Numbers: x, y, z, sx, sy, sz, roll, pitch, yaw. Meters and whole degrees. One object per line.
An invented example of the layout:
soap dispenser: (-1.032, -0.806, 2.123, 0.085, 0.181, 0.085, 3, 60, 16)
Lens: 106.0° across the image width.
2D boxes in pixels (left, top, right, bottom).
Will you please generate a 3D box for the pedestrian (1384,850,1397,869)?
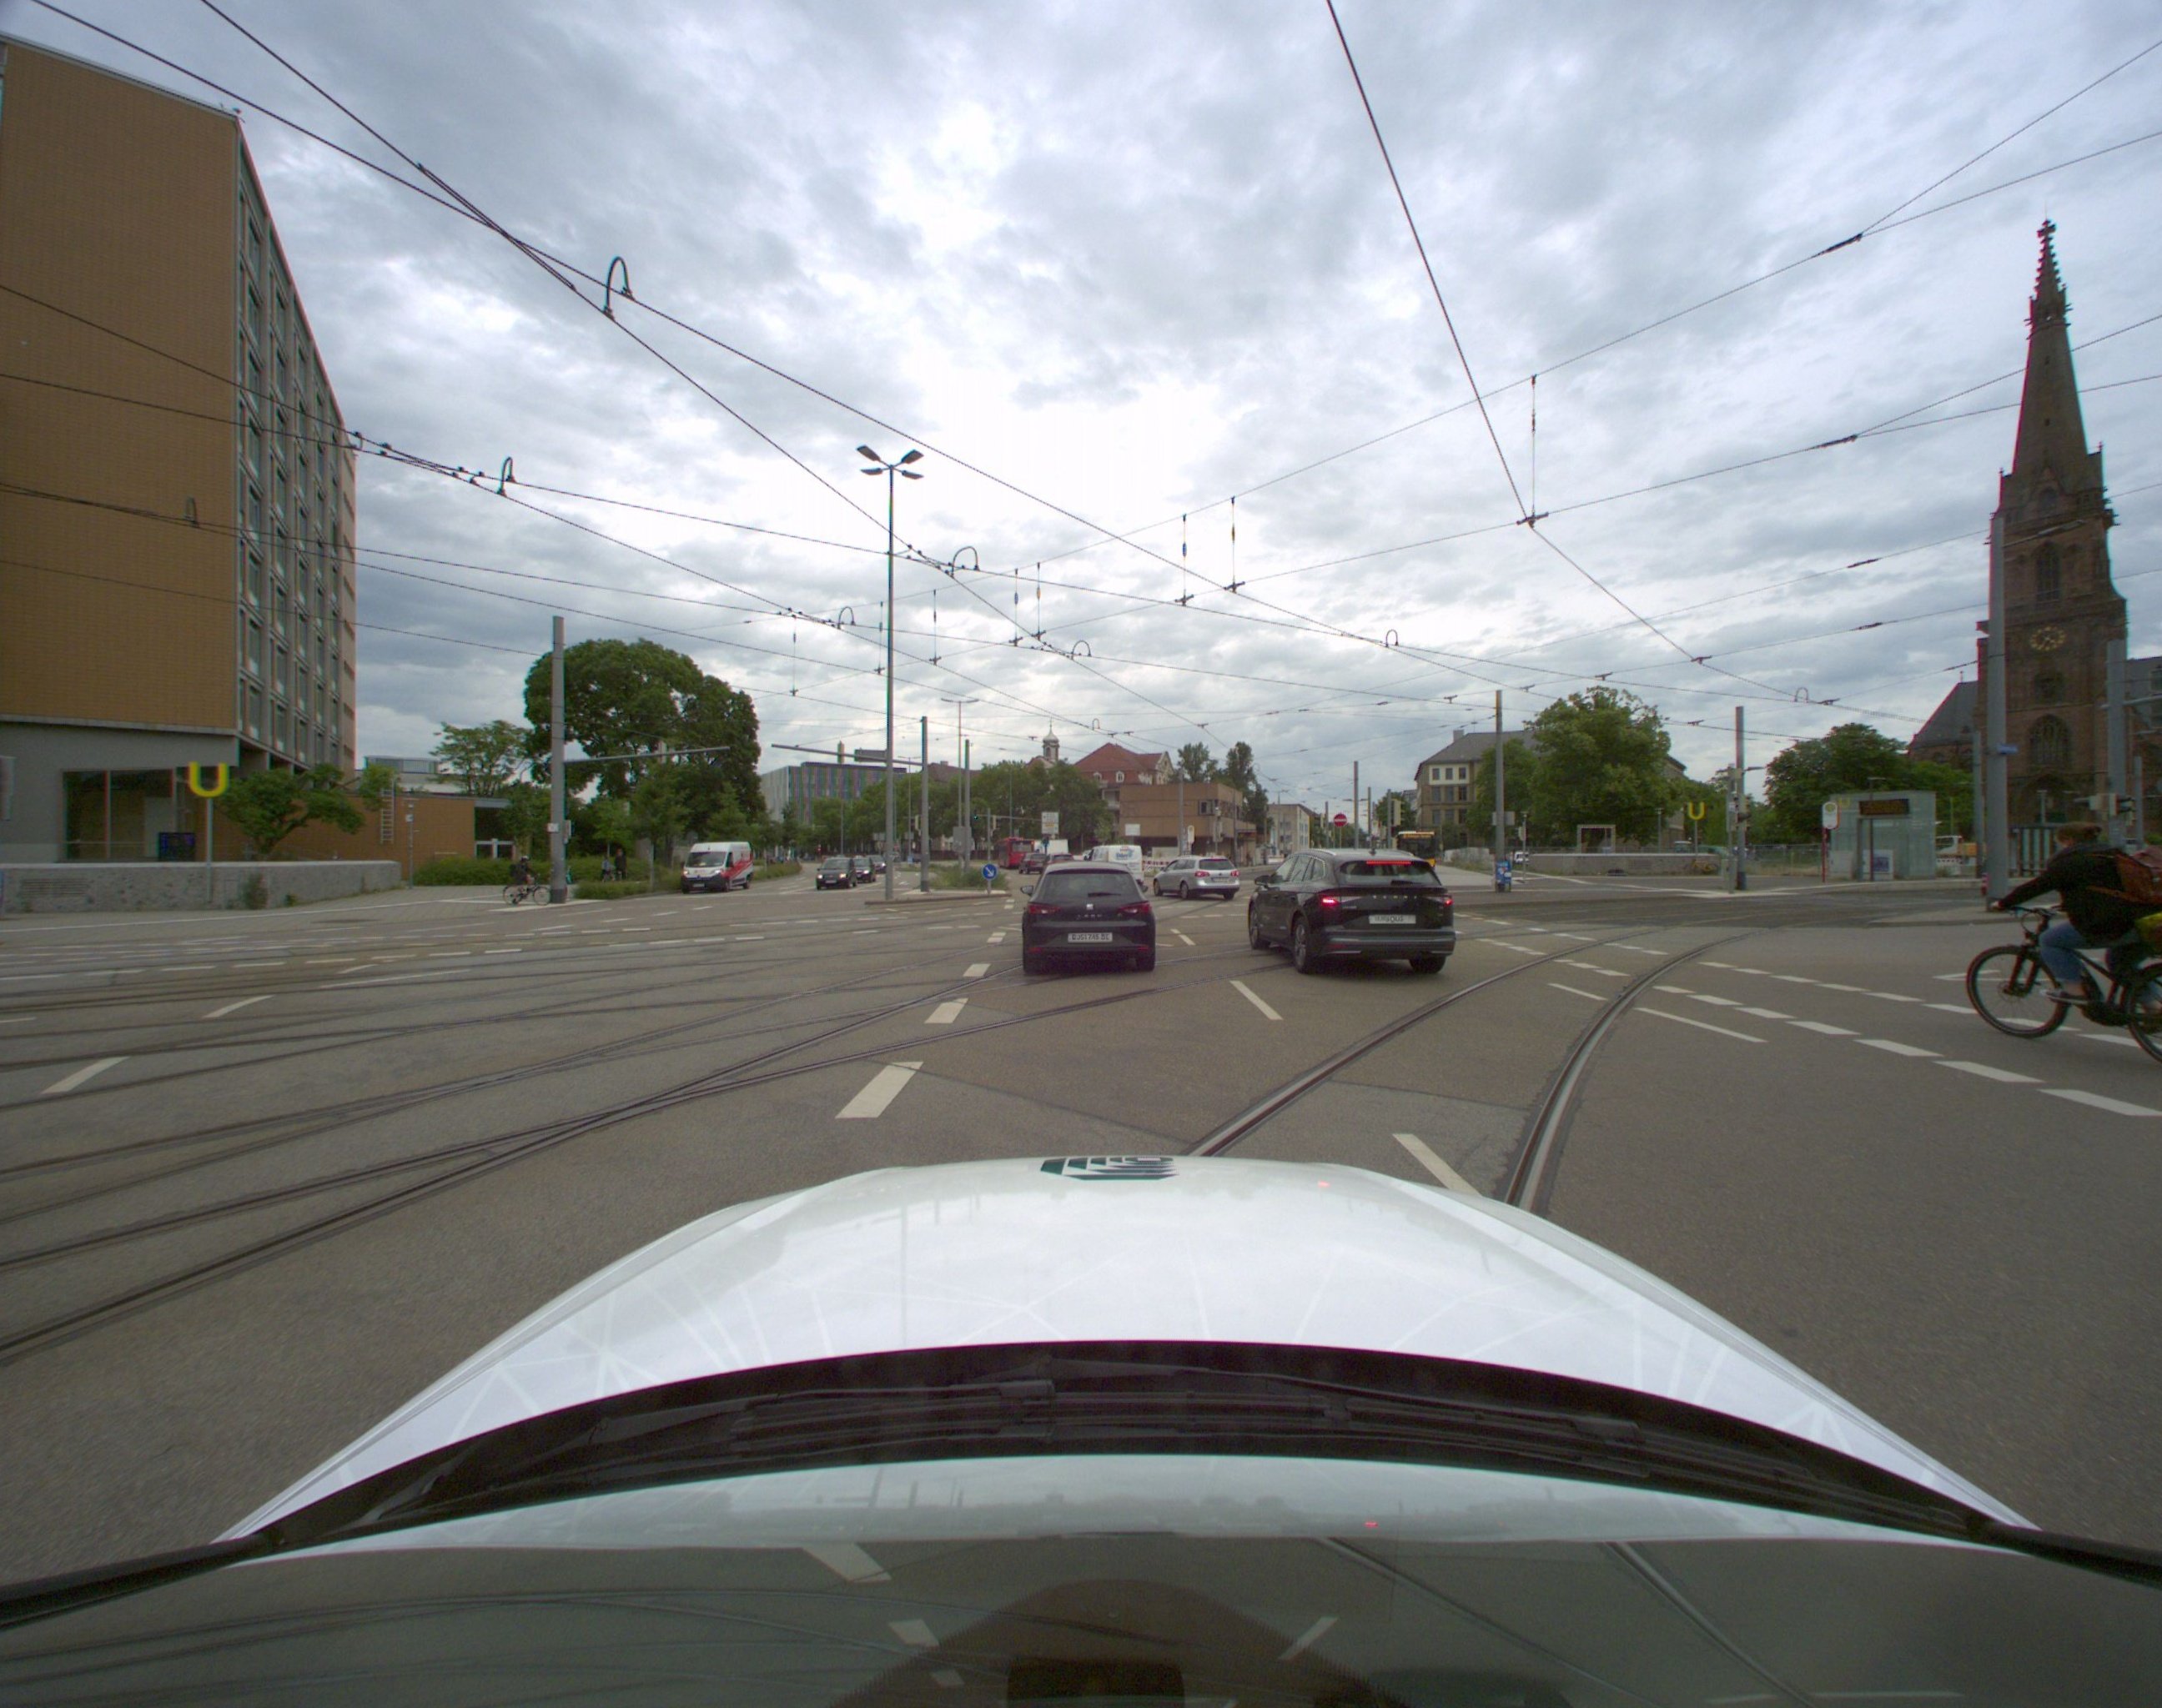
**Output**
pedestrian: (26.579, 0.455, 69.926, 0.995, 1.645, 1.027, -1, 0, 25)

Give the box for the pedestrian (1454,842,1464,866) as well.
pedestrian: (67.793, -0.036, 146.044, 1.299, 4.253, 1.350, 0, 0, 10)

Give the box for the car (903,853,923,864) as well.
car: (-25.019, 0.684, 121.260, 2.004, 1.539, 3.965, 0, 0, -27)

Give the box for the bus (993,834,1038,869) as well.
bus: (-6.853, -0.229, 83.176, 3.060, 3.298, 12.329, 0, 0, -12)

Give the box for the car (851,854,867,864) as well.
car: (-40.683, 0.918, 149.235, 2.005, 1.750, 3.963, 0, 0, -29)

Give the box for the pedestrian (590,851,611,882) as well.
pedestrian: (-27.023, 0.707, 45.831, 0.745, 1.733, 0.685, -1, 0, -5)

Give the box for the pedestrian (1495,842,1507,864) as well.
pedestrian: (35.290, -0.045, 68.380, 0.816, 1.808, 1.027, -1, -1, 25)

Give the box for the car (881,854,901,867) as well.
car: (-30.710, 1.085, 131.329, 2.007, 2.013, 3.960, 0, 0, -32)

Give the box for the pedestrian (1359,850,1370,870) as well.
pedestrian: (25.472, 0.527, 73.084, 0.816, 1.808, 1.027, -1, 0, 25)

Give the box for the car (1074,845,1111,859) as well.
car: (1.650, -0.352, 117.545, 5.025, 1.865, 1.978, 0, -3, -35)

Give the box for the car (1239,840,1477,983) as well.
car: (3.694, 0.672, 11.806, 1.897, 1.658, 4.513, 0, 0, 0)

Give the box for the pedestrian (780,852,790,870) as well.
pedestrian: (-29.548, 0.689, 81.343, 0.758, 1.842, 0.763, -1, 0, -13)

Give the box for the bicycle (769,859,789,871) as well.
bicycle: (-29.284, 1.079, 78.894, 0.782, 1.159, 1.915, -1, 0, 17)

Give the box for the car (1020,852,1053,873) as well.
car: (-3.544, 0.672, 64.421, 1.995, 1.566, 4.187, 0, 0, -13)

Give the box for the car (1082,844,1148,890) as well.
car: (1.520, 0.565, 38.730, 1.995, 2.019, 5.012, 0, 0, -12)

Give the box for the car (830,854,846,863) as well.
car: (-44.358, 0.785, 148.678, 2.006, 1.640, 3.962, 0, 0, -30)

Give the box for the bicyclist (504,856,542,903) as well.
bicyclist: (-20.316, 0.926, 29.647, 0.810, 1.656, 0.793, 1, 0, -1)

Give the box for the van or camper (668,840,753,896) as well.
van or camper: (-18.312, 0.640, 40.587, 2.278, 2.527, 5.558, -1, 0, -8)

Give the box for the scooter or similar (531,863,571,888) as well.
scooter or similar: (-29.425, 1.177, 45.222, 1.777, 1.302, 0.625, 0, 0, -22)

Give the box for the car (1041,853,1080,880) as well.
car: (-1.381, 0.778, 52.702, 1.858, 1.600, 4.190, 0, 0, -11)

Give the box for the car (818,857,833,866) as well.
car: (-49.512, 1.486, 157.770, 2.007, 1.681, 3.970, 0, 0, -31)

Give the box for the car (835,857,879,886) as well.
car: (-12.979, 0.961, 47.463, 1.870, 1.508, 4.465, -3, 0, -9)

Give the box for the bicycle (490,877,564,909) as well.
bicycle: (-20.143, 1.415, 29.640, 2.107, 1.028, 0.795, 2, 1, -1)

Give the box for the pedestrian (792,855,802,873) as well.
pedestrian: (-29.483, 1.025, 84.597, 0.894, 1.842, 0.664, 0, 0, -13)

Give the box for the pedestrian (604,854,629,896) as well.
pedestrian: (-22.415, 0.993, 39.327, 0.817, 1.980, 0.657, -1, 0, -5)

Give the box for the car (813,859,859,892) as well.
car: (-12.049, 1.018, 40.249, 1.618, 1.515, 3.654, -1, 0, -9)

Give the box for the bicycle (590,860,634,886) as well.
bicycle: (-27.431, 1.077, 47.682, 0.840, 1.449, 2.263, 0, 0, 15)

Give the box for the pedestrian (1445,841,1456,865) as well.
pedestrian: (66.371, -0.169, 146.269, 1.378, 4.253, 1.350, 0, 0, 10)

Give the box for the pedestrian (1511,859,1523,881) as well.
pedestrian: (36.333, 1.309, 67.836, 0.816, 1.853, 1.027, -1, 0, 25)

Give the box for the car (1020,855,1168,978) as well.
car: (0.021, 0.767, 11.919, 1.743, 1.464, 3.993, 1, 0, -5)

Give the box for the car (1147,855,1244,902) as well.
car: (3.909, 0.804, 28.662, 1.723, 1.482, 4.605, -1, 0, -15)

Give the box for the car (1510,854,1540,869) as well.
car: (50.374, 0.800, 92.501, 1.897, 1.662, 4.011, 0, 0, 10)

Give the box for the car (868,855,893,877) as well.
car: (-17.440, 1.016, 70.975, 1.871, 1.725, 4.695, -2, 0, -11)

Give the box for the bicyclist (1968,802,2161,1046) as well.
bicyclist: (7.314, 0.481, 6.048, 0.612, 1.690, 0.807, 0, 0, 7)

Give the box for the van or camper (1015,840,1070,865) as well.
van or camper: (-5.272, -0.213, 112.893, 7.182, 3.332, 2.845, 0, -2, -35)

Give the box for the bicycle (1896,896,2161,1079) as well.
bicycle: (7.308, 0.896, 6.043, 0.621, 1.055, 2.131, 0, 0, 8)

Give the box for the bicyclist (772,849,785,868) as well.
bicyclist: (-29.289, 0.410, 78.881, 0.783, 1.844, 0.838, -1, 0, 18)

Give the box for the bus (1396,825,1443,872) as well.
bus: (26.062, -0.362, 62.779, 2.990, 3.268, 13.112, 0, 0, 22)
